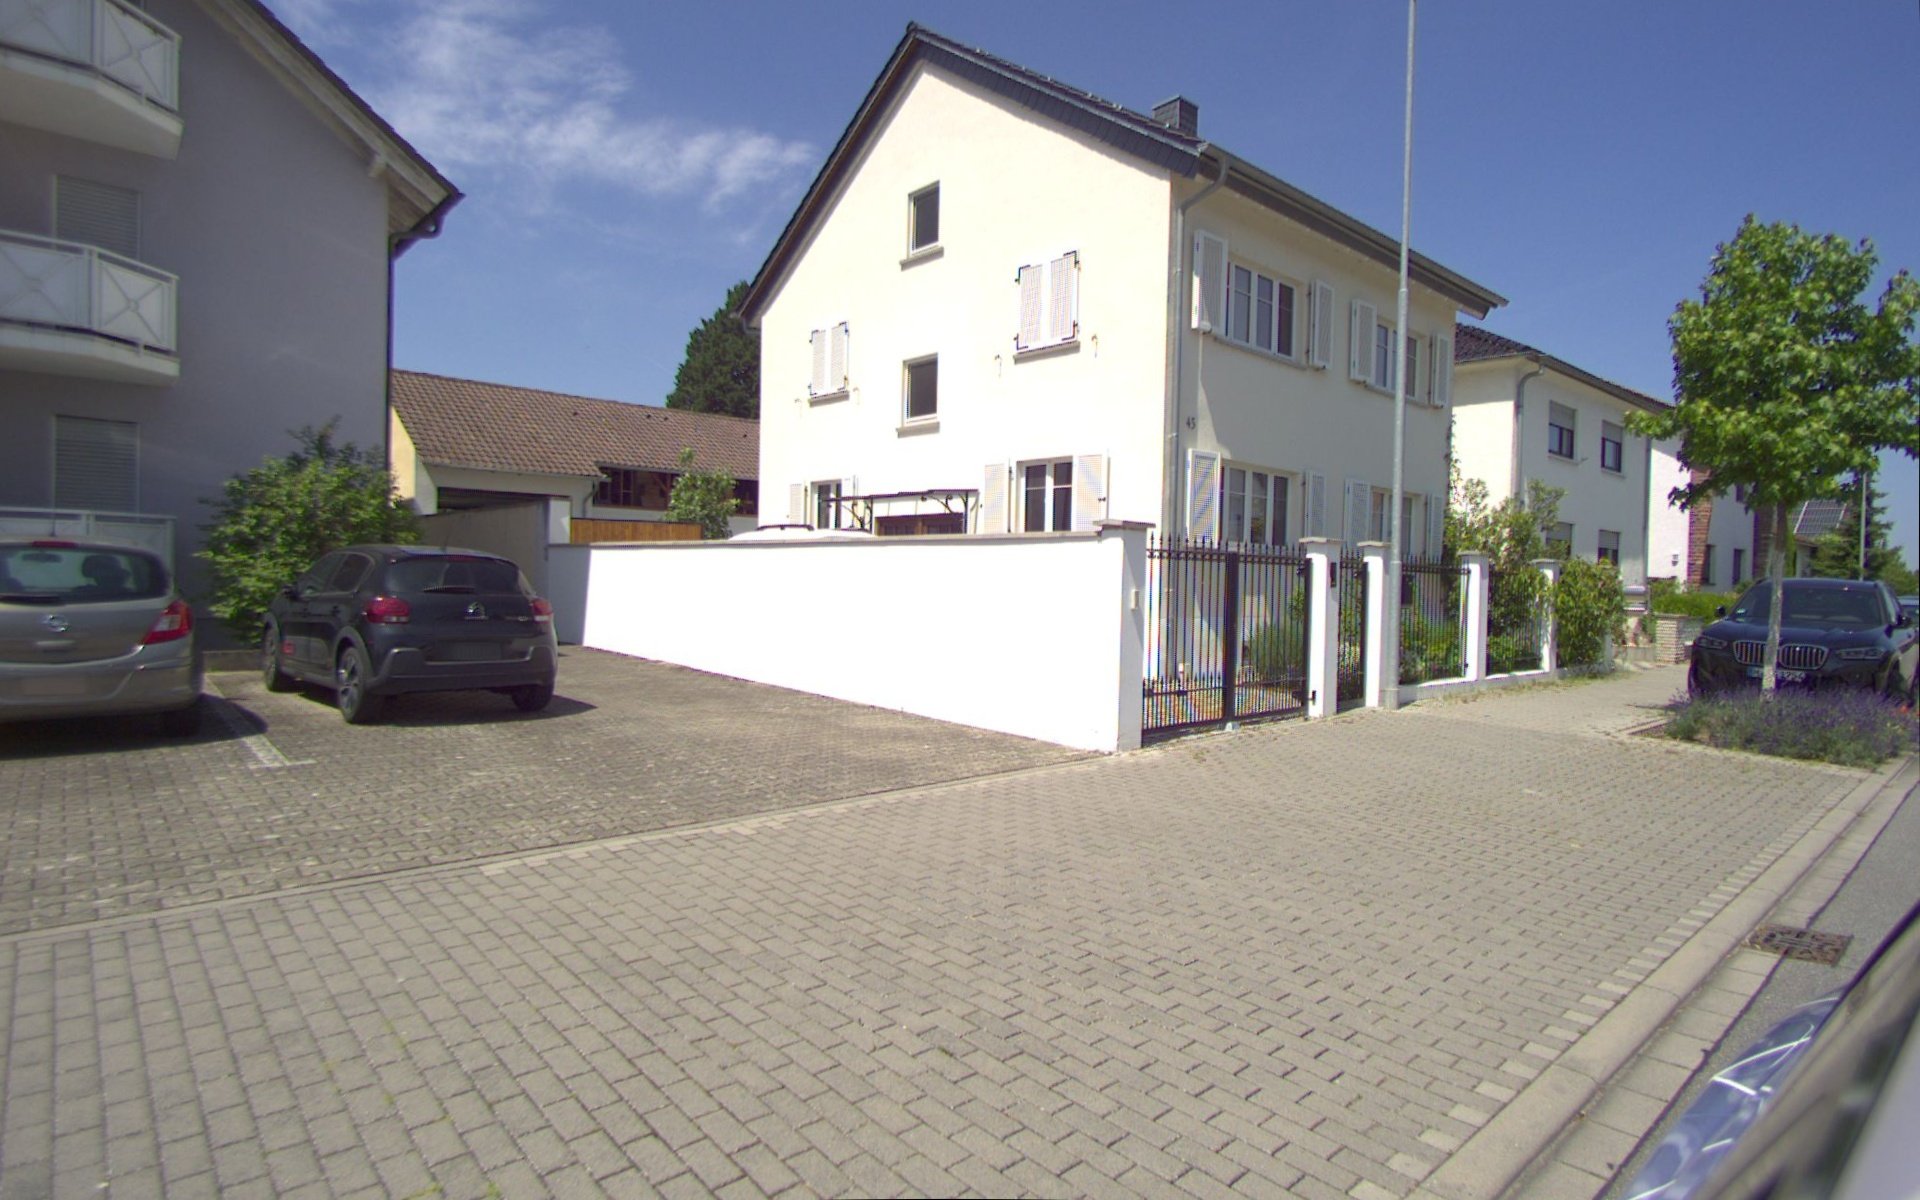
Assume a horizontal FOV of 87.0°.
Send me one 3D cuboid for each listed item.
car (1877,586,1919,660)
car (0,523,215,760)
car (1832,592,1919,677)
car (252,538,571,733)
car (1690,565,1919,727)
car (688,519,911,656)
[{"bbox_3d":[21.871,0.492,22.620,4.375,1.552,1.743,0,2,-44],"label":"car"},{"bbox_3d":[-7.132,0.206,7.890,1.637,1.513,3.447,1,2,-45],"label":"car"},{"bbox_3d":[17.802,0.610,18.849,4.022,1.438,1.817,0,1,-42],"label":"car"},{"bbox_3d":[-5.337,0.216,9.678,3.499,1.515,1.639,3,1,43],"label":"car"},{"bbox_3d":[10.912,0.484,12.742,4.485,1.677,1.817,1,1,-42],"label":"car"},{"bbox_3d":[-2.516,-0.219,15.399,1.741,1.835,3.391,1,1,-42],"label":"car"}]
